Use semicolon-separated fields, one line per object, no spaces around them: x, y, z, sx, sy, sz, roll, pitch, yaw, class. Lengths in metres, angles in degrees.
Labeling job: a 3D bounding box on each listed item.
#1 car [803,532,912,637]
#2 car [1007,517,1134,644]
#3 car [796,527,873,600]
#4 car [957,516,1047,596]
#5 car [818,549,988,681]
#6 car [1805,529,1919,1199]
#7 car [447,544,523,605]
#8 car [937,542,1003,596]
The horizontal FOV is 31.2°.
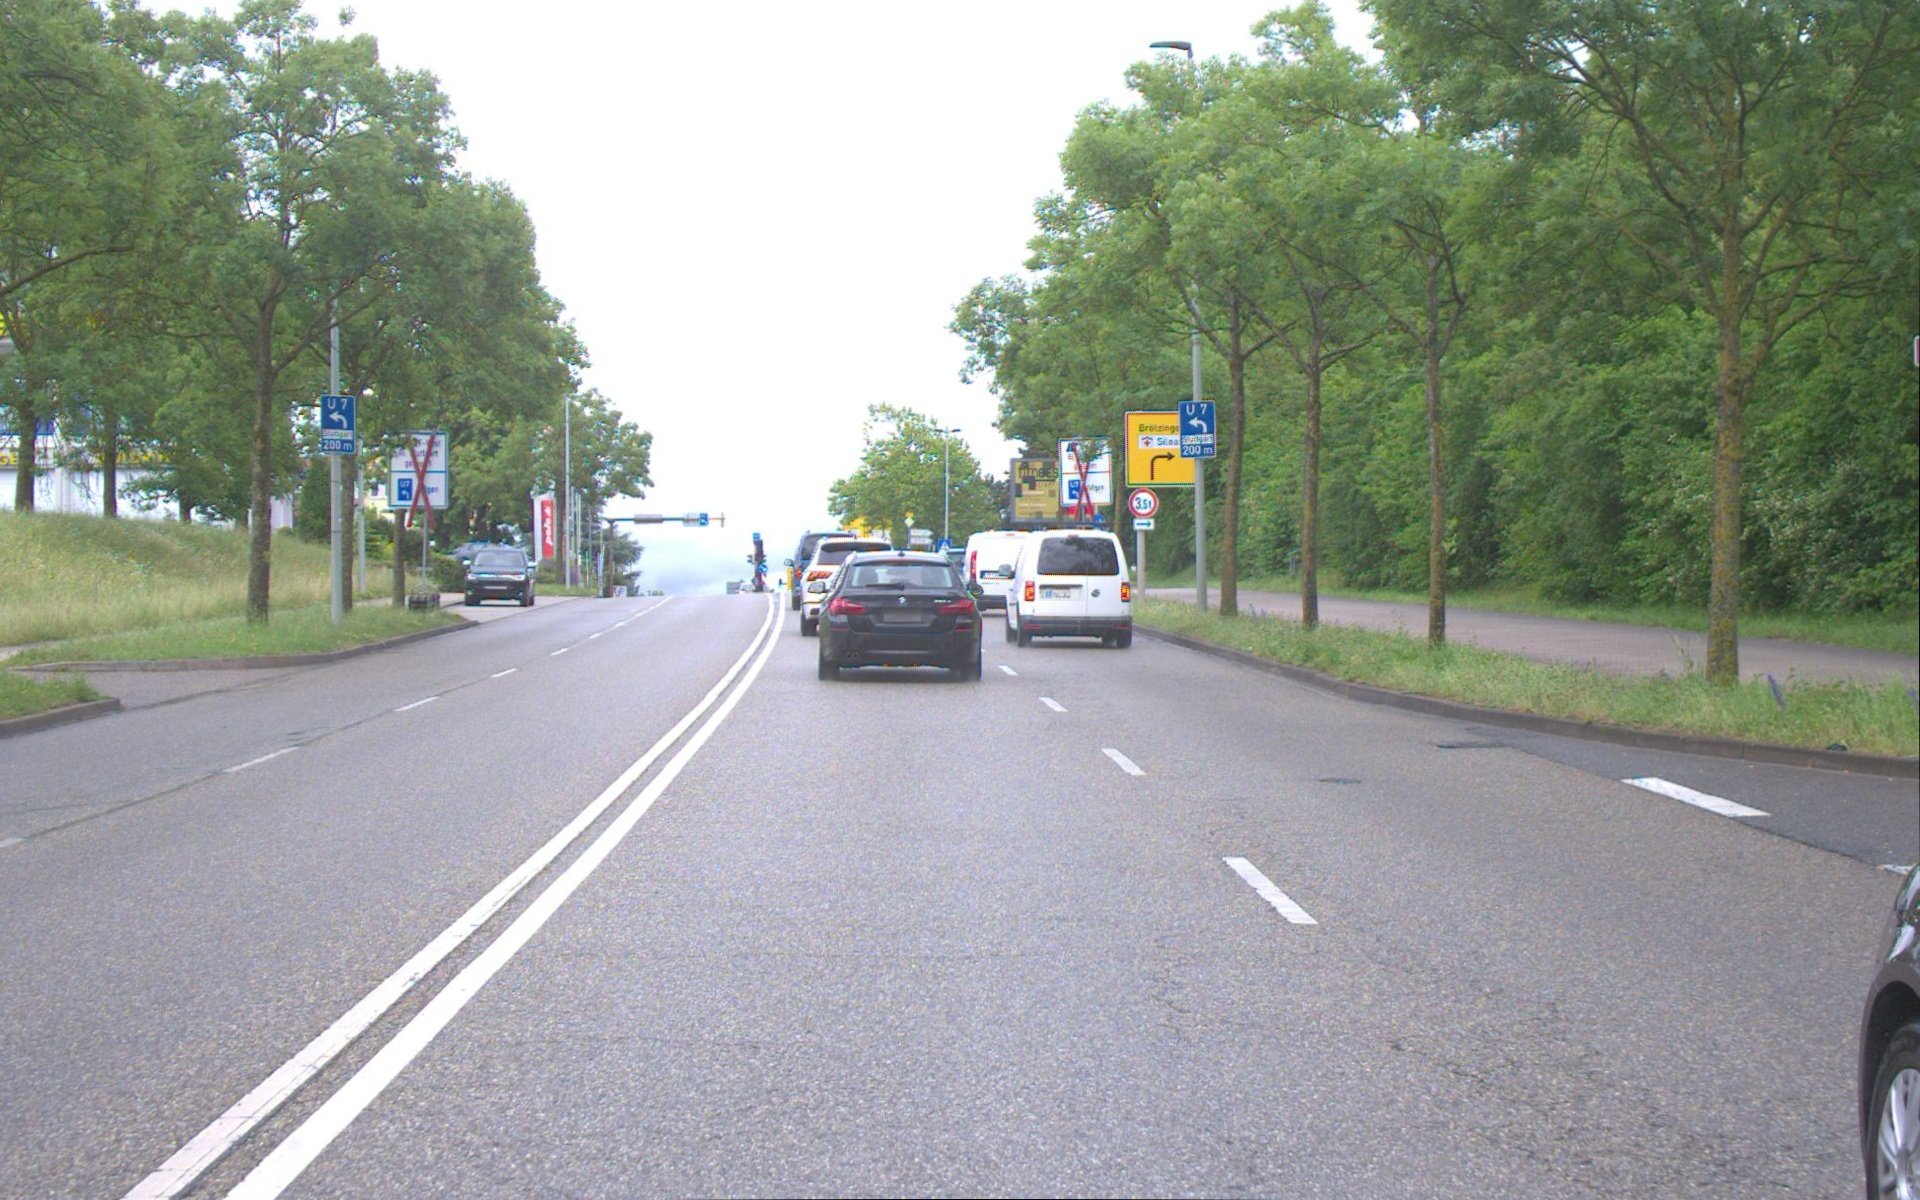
-1.725;-0.279;58.616;1.728;1.705;3.382;1;1;0;car
1.685;-0.316;53.452;1.741;1.863;3.946;1;1;-1;car
-2.969;-0.874;81.876;1.758;1.702;3.946;0;1;-1;car
0.896;-0.964;75.257;1.814;1.702;3.946;0;1;-1;car
-0.648;0.141;39.848;1.855;1.414;3.957;1;1;-1;car
2.704;0.682;5.170;1.714;1.591;4.131;1;0;-2;car
-13.526;-0.735;98.138;1.726;1.662;4.488;1;1;-3;car
0.247;-0.815;89.833;1.600;1.367;3.680;-1;1;-2;car
